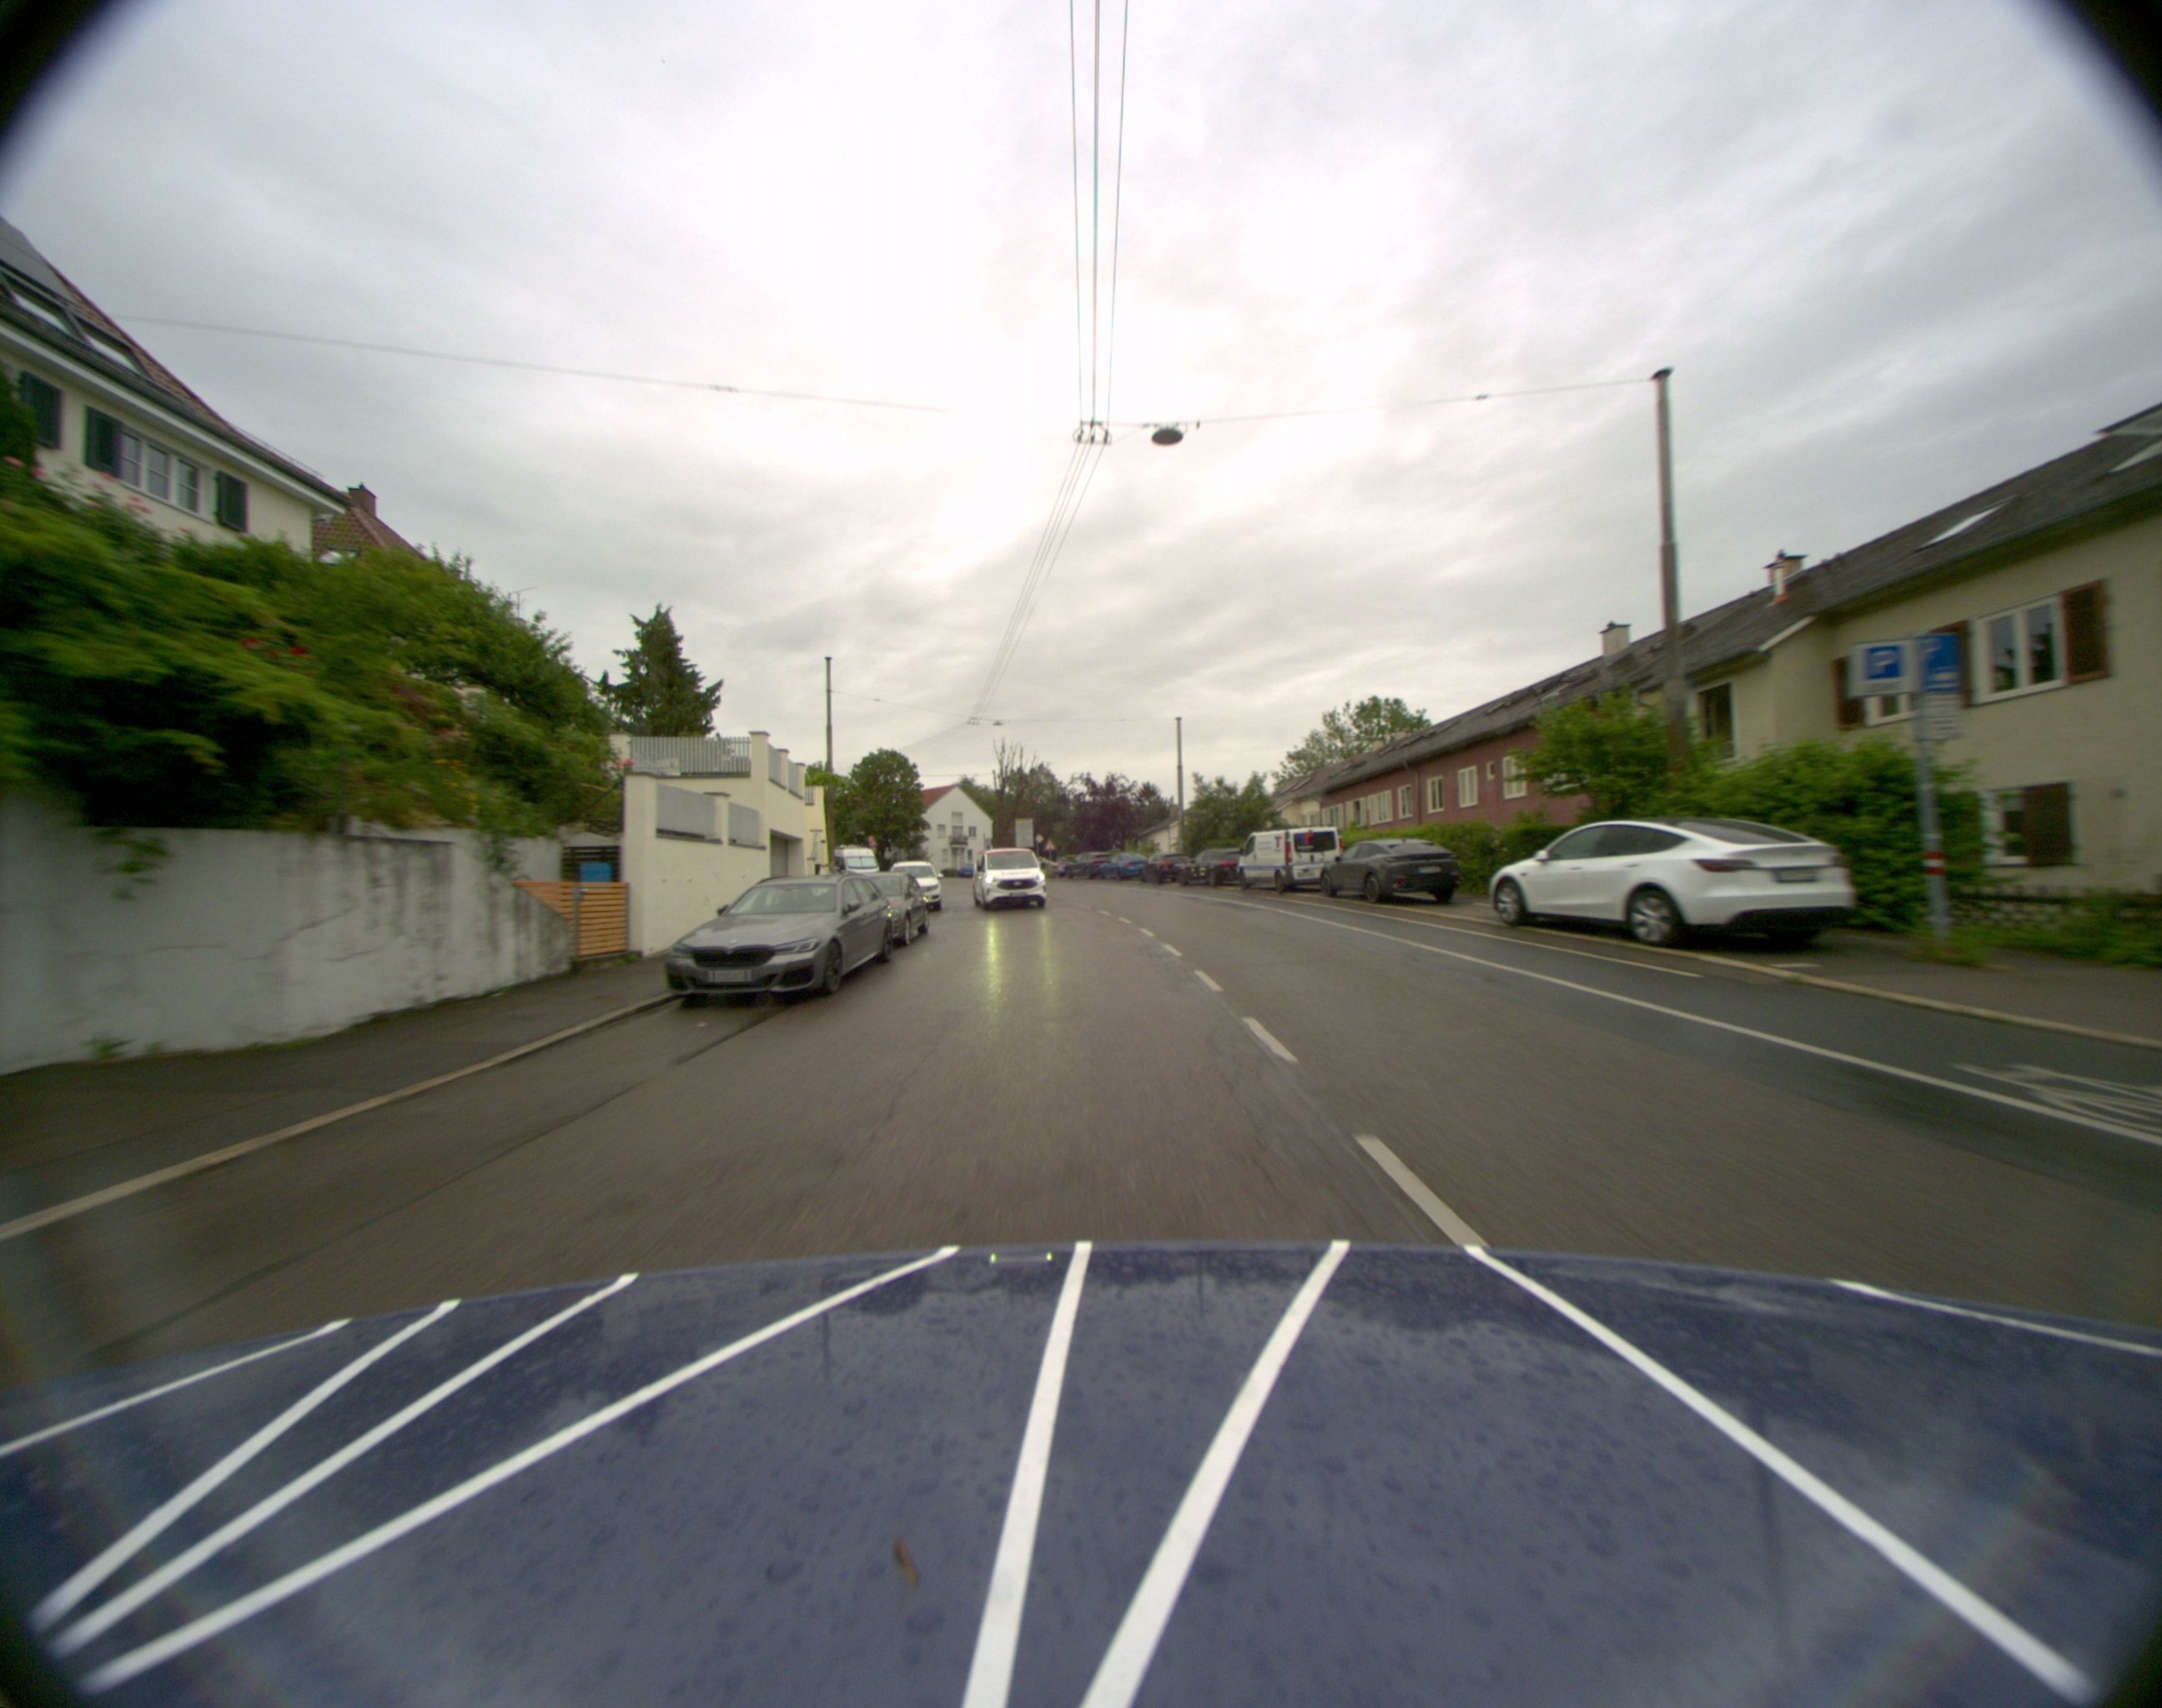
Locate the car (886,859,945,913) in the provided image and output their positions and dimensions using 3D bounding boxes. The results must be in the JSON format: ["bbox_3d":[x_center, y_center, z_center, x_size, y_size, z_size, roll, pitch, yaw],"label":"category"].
[{"bbox_3d":[-5.772,1.048,26.506,1.810,1.639,4.205,-2,0,-12],"label":"car"}]

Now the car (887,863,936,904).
[{"bbox_3d":[-7.230,1.179,32.102,1.685,1.475,4.195,-2,1,-17],"label":"car"}]

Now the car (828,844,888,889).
[{"bbox_3d":[-13.582,0.684,46.018,2.109,2.527,5.605,1,0,-31],"label":"car"}]

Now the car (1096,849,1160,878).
[{"bbox_3d":[2.476,0.511,40.979,1.706,1.396,4.465,-3,0,-20],"label":"car"}]

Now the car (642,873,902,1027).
[{"bbox_3d":[-3.972,1.127,10.777,1.794,1.487,4.704,-2,1,-1],"label":"car"}]

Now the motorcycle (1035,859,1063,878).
[{"bbox_3d":[-2.187,0.992,52.369,1.810,1.272,0.510,-2,0,-27],"label":"motorcycle"}]

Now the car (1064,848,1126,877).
[{"bbox_3d":[0.768,0.535,45.677,1.930,1.568,4.379,-3,1,-25],"label":"car"}]

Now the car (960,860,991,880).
[{"bbox_3d":[-9.459,1.411,68.232,1.839,1.656,3.943,2,1,6],"label":"car"}]

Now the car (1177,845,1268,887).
[{"bbox_3d":[5.473,0.430,30.058,1.814,1.468,4.517,-2,1,-14],"label":"car"}]

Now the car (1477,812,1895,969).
[{"bbox_3d":[7.817,0.372,10.598,1.934,1.621,4.676,-2,1,-3],"label":"car"}]

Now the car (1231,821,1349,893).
[{"bbox_3d":[6.652,0.080,24.853,1.854,2.067,5.017,-2,0,-7],"label":"car"}]

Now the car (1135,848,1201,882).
[{"bbox_3d":[4.028,0.481,35.928,1.814,1.468,4.518,-2,1,-11],"label":"car"}]

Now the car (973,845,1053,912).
[{"bbox_3d":[-2.405,0.765,25.617,2.044,1.928,4.510,-3,0,-12],"label":"car"}]

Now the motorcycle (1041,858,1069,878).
[{"bbox_3d":[-1.757,0.928,51.020,1.806,1.296,0.613,-3,1,2],"label":"motorcycle"}]

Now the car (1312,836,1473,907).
[{"bbox_3d":[7.410,0.361,18.622,1.813,1.468,4.520,-2,1,-4],"label":"car"}]

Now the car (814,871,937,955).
[{"bbox_3d":[-4.210,1.133,16.171,1.646,1.428,4.172,-2,0,-3],"label":"car"}]

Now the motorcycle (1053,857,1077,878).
[{"bbox_3d":[-1.028,0.886,49.880,0.574,1.264,1.910,-2,1,33],"label":"motorcycle"}]
